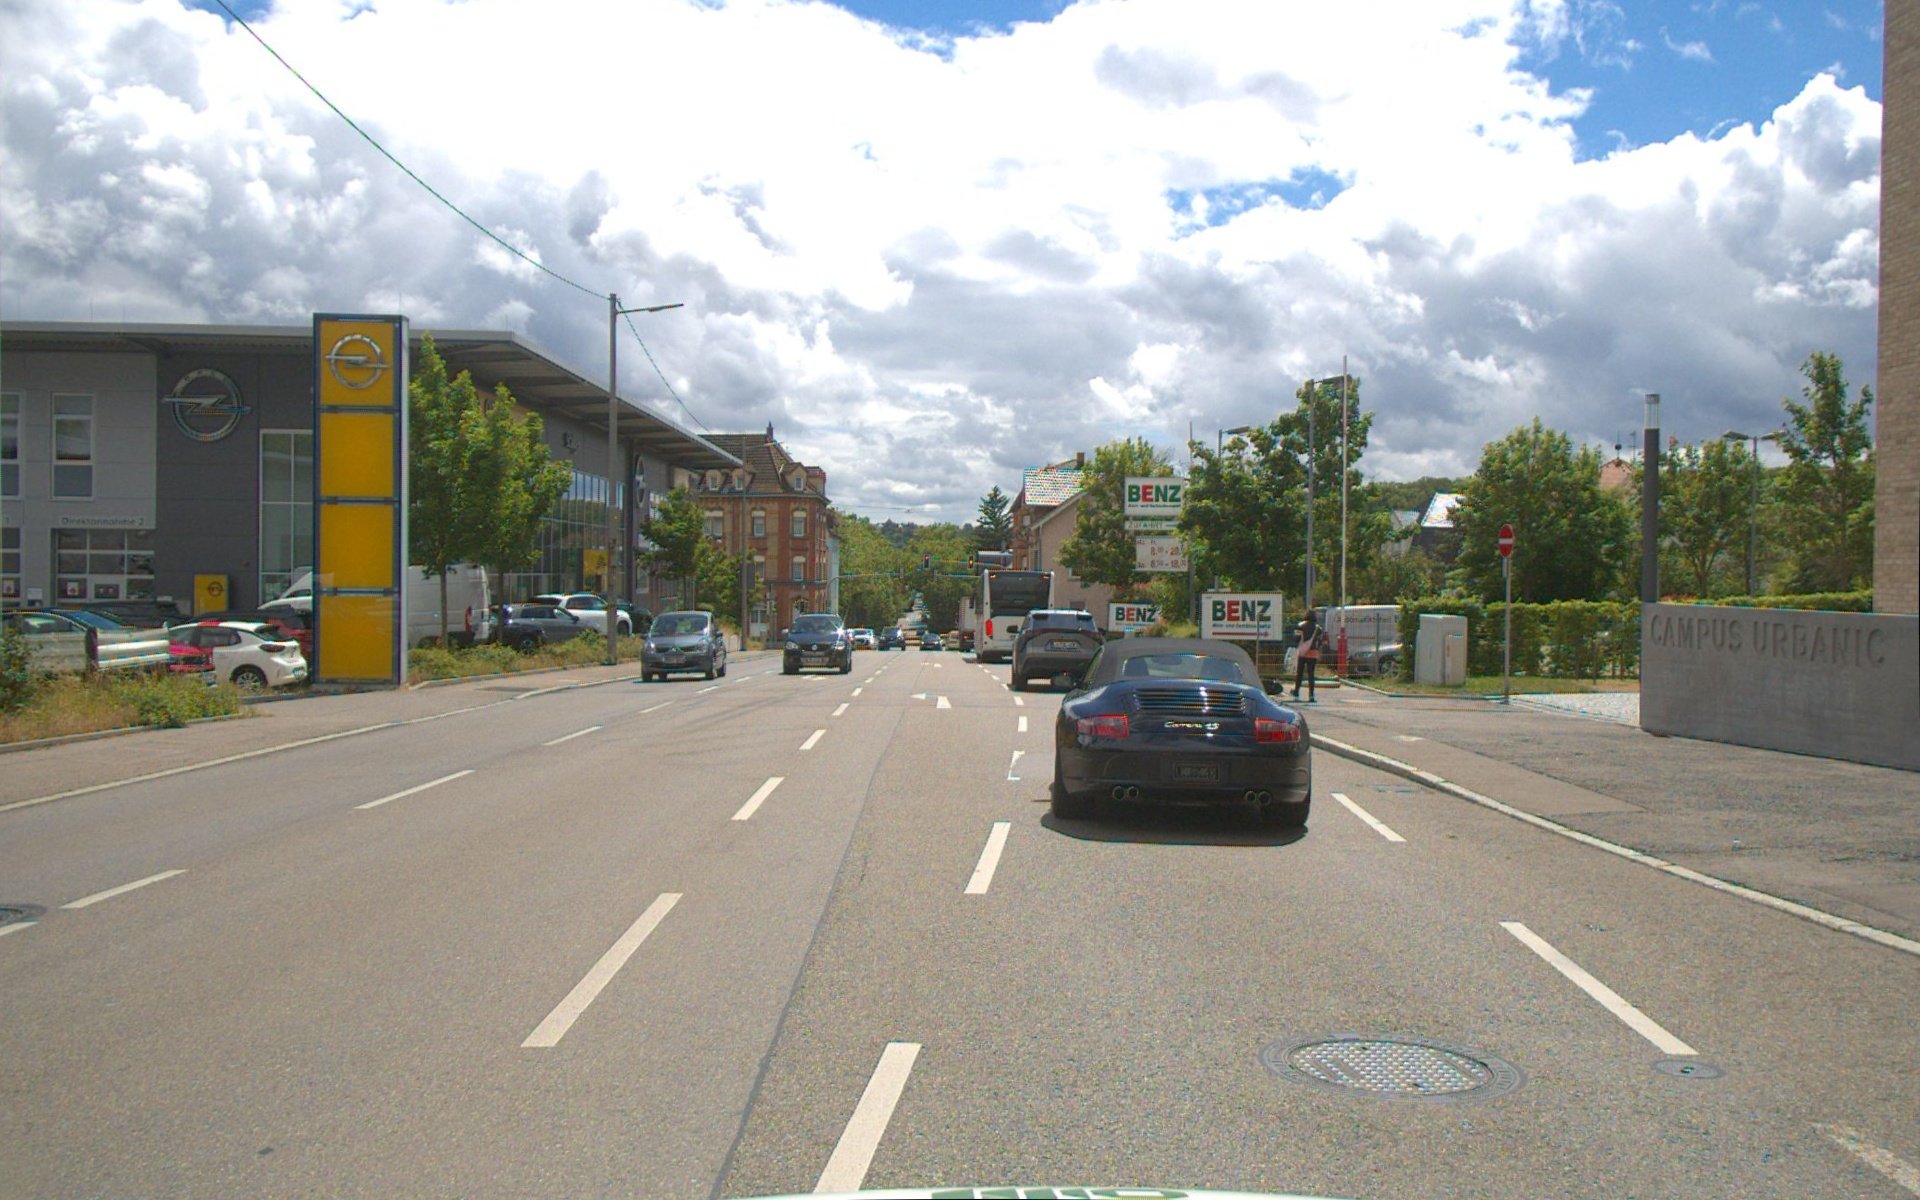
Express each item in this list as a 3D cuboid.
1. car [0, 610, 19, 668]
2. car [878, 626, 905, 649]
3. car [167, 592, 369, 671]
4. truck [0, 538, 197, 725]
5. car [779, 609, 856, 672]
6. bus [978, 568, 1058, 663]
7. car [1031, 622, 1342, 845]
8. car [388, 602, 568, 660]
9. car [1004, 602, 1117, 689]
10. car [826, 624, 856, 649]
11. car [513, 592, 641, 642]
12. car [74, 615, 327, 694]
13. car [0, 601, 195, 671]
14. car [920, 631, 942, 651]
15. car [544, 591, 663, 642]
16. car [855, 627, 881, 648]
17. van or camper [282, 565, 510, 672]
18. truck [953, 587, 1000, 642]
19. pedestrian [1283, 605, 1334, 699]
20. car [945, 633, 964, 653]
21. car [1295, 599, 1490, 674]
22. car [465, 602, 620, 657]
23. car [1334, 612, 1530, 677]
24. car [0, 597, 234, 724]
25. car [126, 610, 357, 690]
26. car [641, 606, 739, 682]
[{"bbox_3d":[-25.812,0.978,41.251,3.624,1.422,1.845,0,1,-6],"label":"car"},{"bbox_3d":[-4.839,2.675,117.817,1.826,1.567,4.105,1,-1,-2],"label":"car"},{"bbox_3d":[-16.305,0.723,39.070,3.903,1.735,2.001,1,1,4],"label":"car"},{"bbox_3d":[-12.933,0.408,20.529,5.745,2.185,2.475,0,-1,-4],"label":"truck"},{"bbox_3d":[-3.633,1.012,42.775,1.792,1.535,4.274,0,-1,-2],"label":"car"},{"bbox_3d":[2.112,0.412,63.333,2.744,3.253,12.198,1,1,1],"label":"bus"},{"bbox_3d":[1.586,0.906,12.995,1.891,1.401,4.208,1,0,0],"label":"car"},{"bbox_3d":[-13.272,0.833,45.677,4.440,1.535,1.913,0,-1,-43],"label":"car"},{"bbox_3d":[2.005,0.886,34.195,1.892,1.610,4.206,0,1,-3],"label":"car"},{"bbox_3d":[-7.813,2.396,108.653,1.834,1.517,3.846,-2,-1,-3],"label":"car"},{"bbox_3d":[-12.761,0.581,55.366,1.891,1.600,4.552,0,-1,22],"label":"car"},{"bbox_3d":[-14.530,1.033,31.815,3.907,1.434,1.999,0,-1,-2],"label":"car"},{"bbox_3d":[-20.388,0.837,38.608,4.142,1.563,1.928,0,-1,-2],"label":"car"},{"bbox_3d":[-2.396,3.387,136.956,1.826,1.695,4.257,0,-1,-2],"label":"car"},{"bbox_3d":[-12.924,0.567,60.201,1.954,1.728,4.482,1,1,25],"label":"car"},{"bbox_3d":[-7.083,2.878,127.763,1.826,1.567,4.106,0,-1,0],"label":"car"},{"bbox_3d":[-14.108,0.430,41.611,4.925,2.575,2.318,1,1,-1],"label":"van or camper"},{"bbox_3d":[0.947,0.949,101.354,2.612,3.162,9.033,-1,-1,-1],"label":"truck"},{"bbox_3d":[5.888,0.864,27.996,0.673,1.563,0.856,0,0,-1],"label":"pedestrian"},{"bbox_3d":[-0.543,4.246,163.244,1.795,1.915,3.998,0,0,-2],"label":"car"},{"bbox_3d":[11.631,0.985,44.621,4.619,1.881,2.085,-1,-1,-8],"label":"car"},{"bbox_3d":[-12.581,0.846,50.142,1.858,1.476,4.827,1,1,27],"label":"car"},{"bbox_3d":[11.880,1.117,41.795,4.342,1.507,1.999,-1,-1,-2],"label":"car"},{"bbox_3d":[-12.796,0.873,23.716,3.905,1.616,1.754,-3,1,0],"label":"car"},{"bbox_3d":[-14.815,1.015,34.250,3.904,1.517,2.001,1,1,2],"label":"car"},{"bbox_3d":[-6.276,0.991,38.828,1.708,1.623,4.041,-2,0,-2],"label":"car"}]
